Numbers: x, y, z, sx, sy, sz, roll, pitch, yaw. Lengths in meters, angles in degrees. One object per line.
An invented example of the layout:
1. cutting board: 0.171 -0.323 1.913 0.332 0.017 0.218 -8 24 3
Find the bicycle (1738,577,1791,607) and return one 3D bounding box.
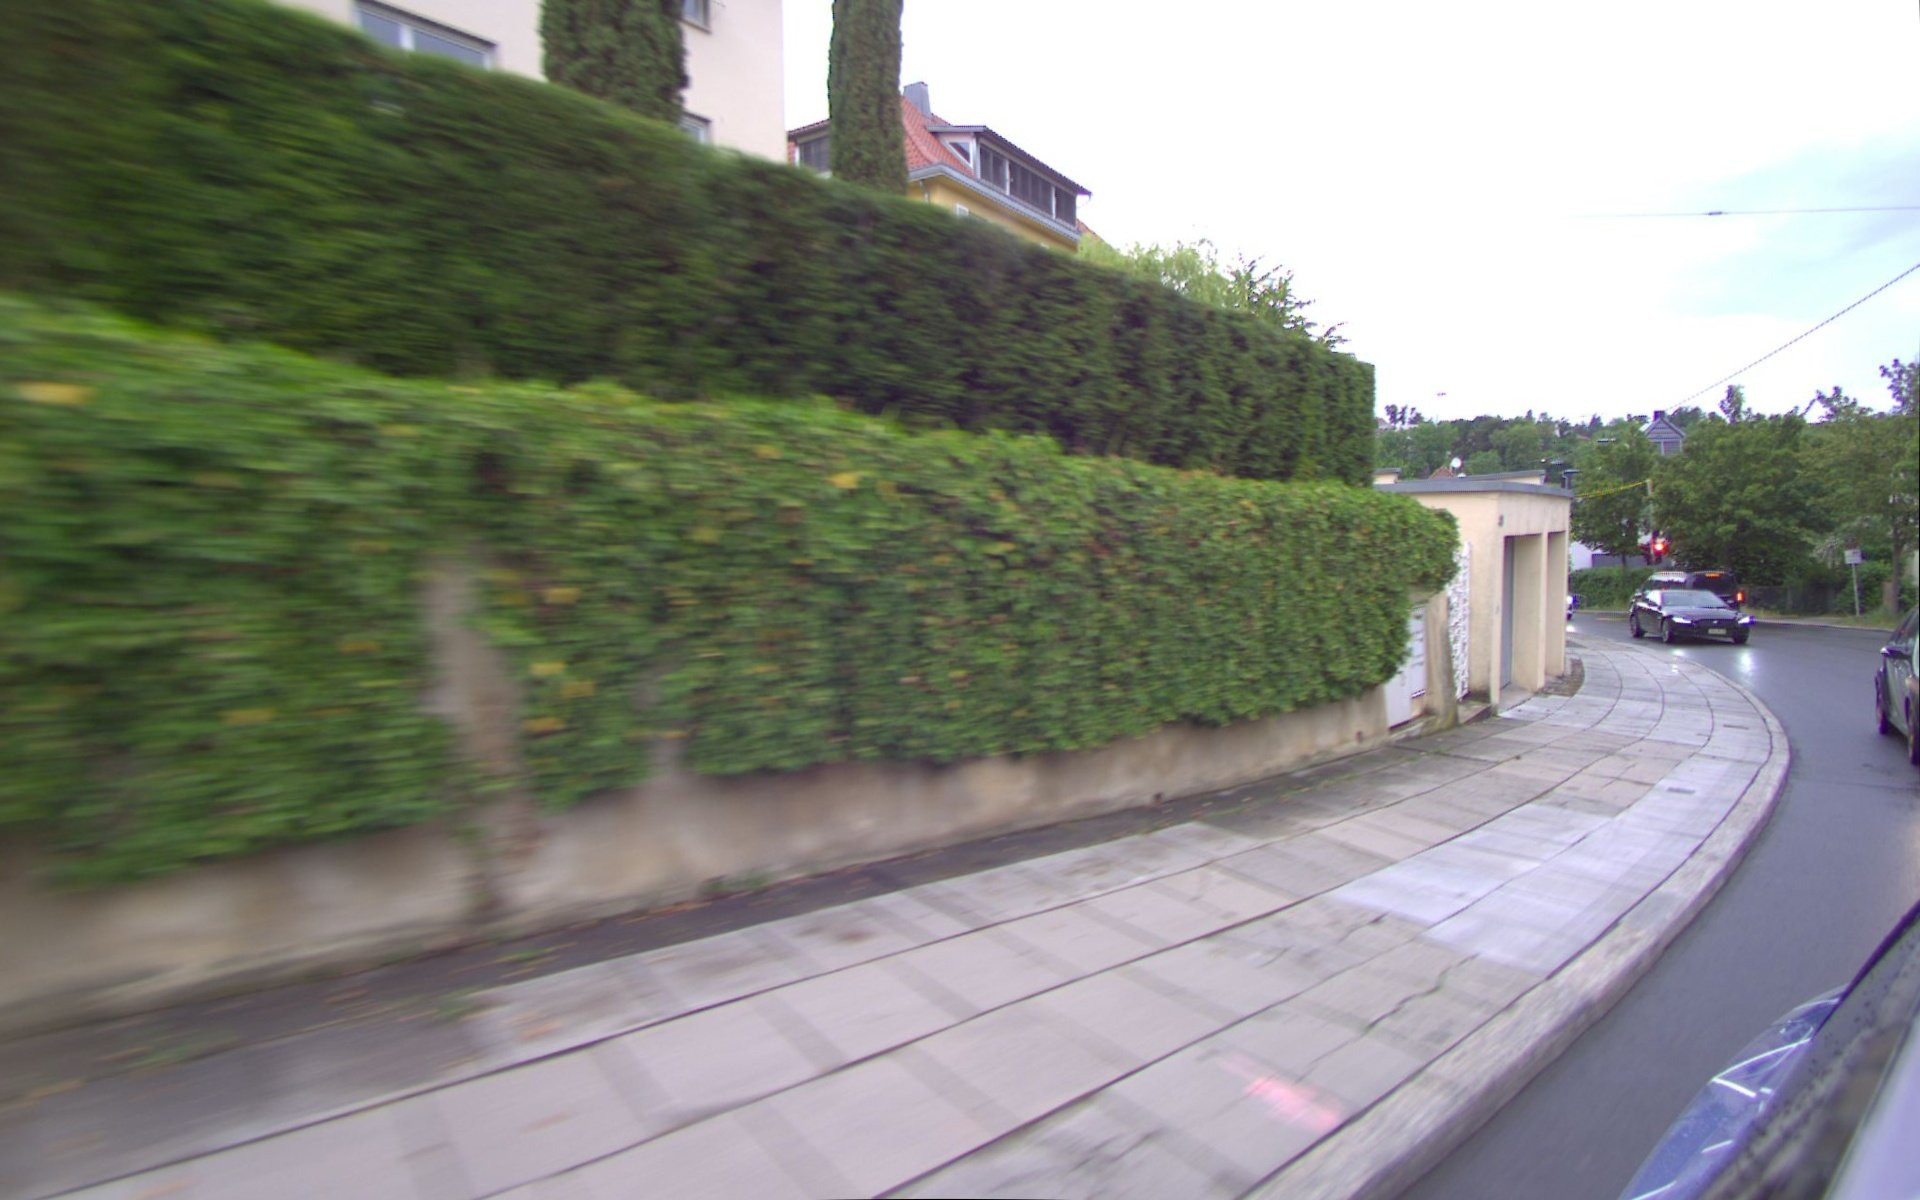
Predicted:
1. bicycle: 35.689 -0.337 44.948 0.483 1.288 2.273 -2 0 -1

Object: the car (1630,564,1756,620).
1. car: 27.332 -0.353 37.964 1.874 1.913 5.134 1 1 13

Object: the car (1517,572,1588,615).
1. car: 25.257 -0.335 43.290 1.979 1.730 4.540 2 2 23

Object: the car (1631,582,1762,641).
1. car: 20.196 0.253 27.961 1.821 1.420 4.045 1 2 20

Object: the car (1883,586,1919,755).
1. car: 10.331 0.644 9.858 1.667 1.484 4.649 2 2 39
